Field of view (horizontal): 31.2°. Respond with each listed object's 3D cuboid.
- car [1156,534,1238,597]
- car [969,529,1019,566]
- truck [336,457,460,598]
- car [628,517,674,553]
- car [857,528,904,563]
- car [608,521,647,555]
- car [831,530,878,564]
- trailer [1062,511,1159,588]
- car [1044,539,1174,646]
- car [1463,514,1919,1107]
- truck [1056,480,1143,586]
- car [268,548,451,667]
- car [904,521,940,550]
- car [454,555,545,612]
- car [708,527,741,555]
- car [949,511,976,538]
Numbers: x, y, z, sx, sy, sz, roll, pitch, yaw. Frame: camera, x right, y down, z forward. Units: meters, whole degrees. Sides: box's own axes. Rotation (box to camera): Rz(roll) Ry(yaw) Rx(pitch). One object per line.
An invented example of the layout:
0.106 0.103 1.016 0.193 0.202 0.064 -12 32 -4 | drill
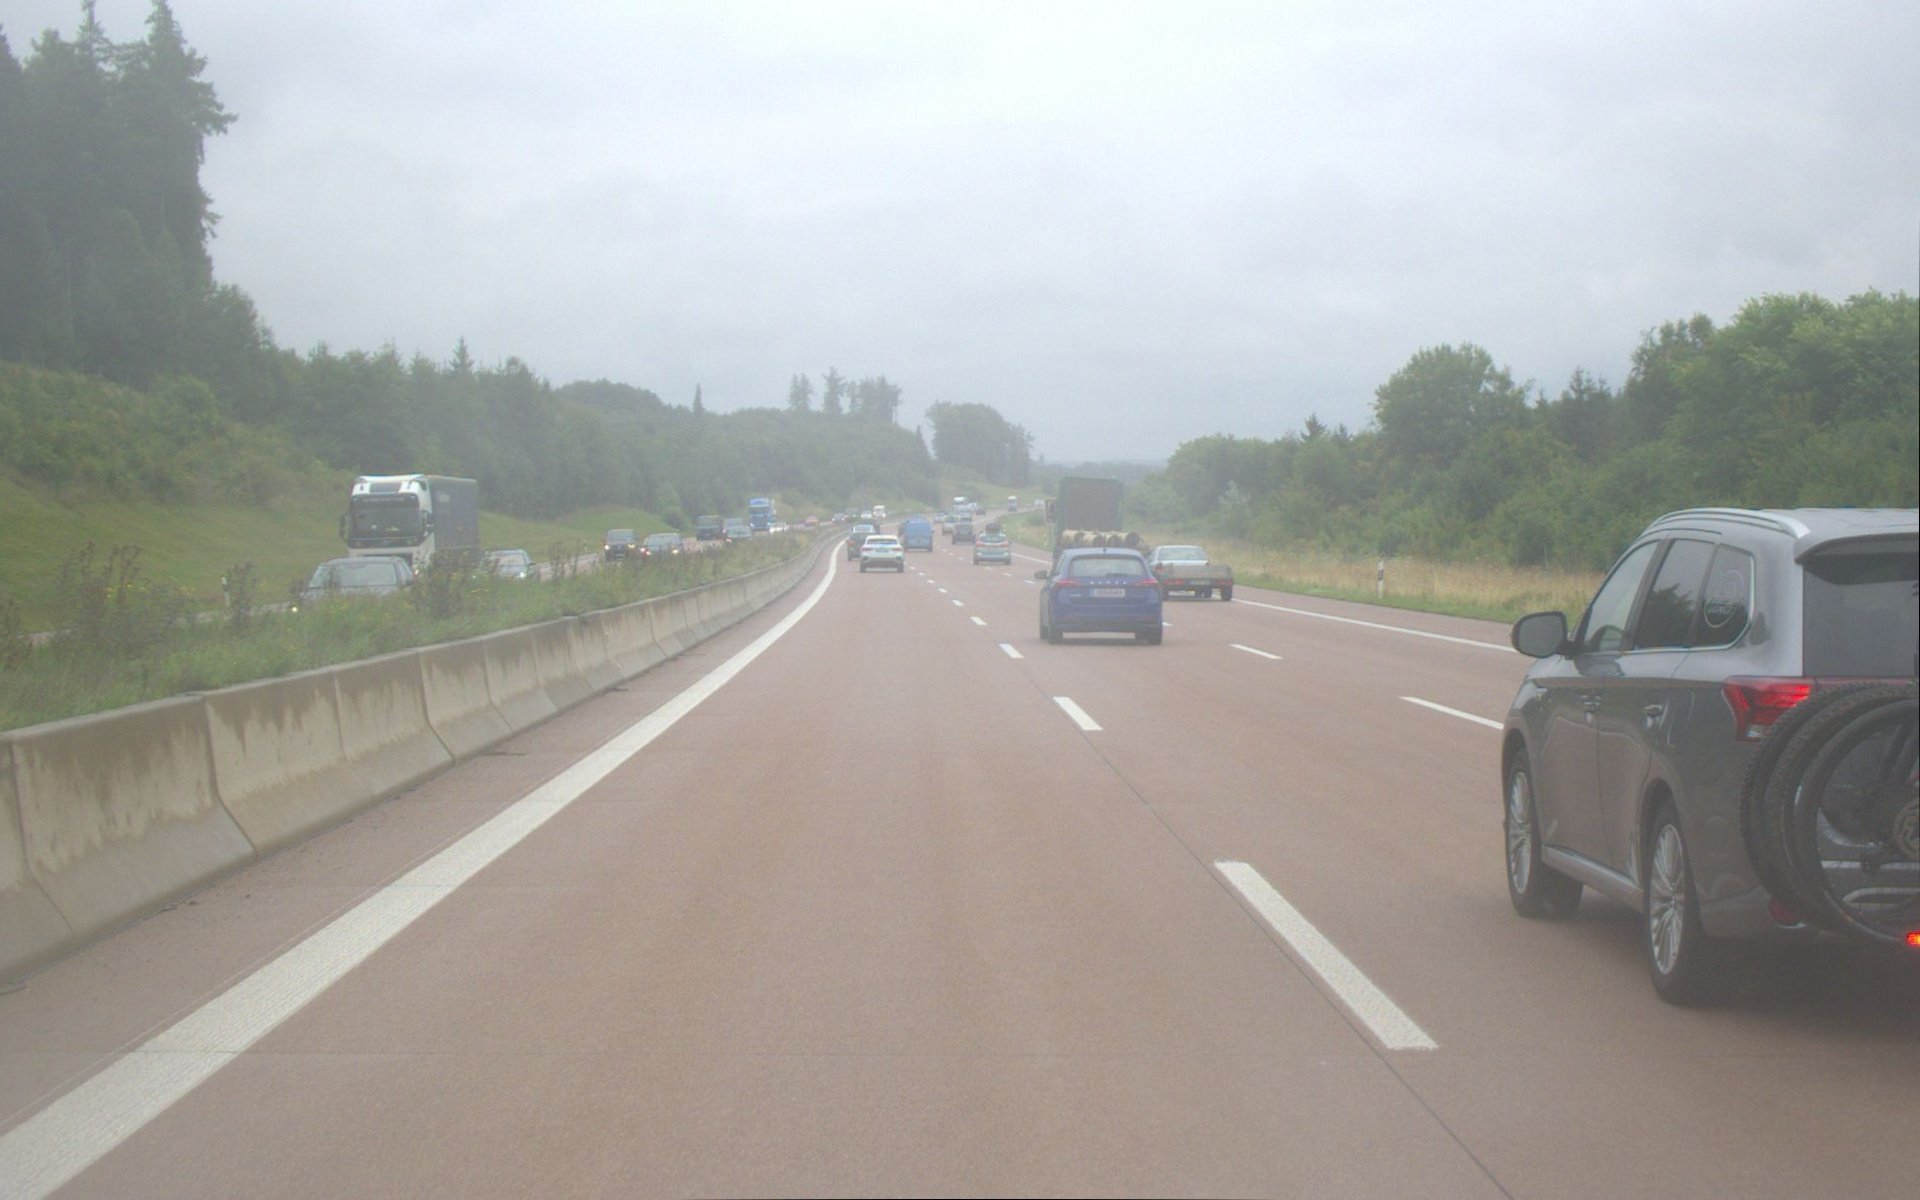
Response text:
6.207 -0.917 90.447 1.698 1.606 4.977 0 1 -1 | car
1.664 -2.585 169.961 2.322 1.744 4.877 1 1 -1 | car
-18.250 -2.322 112.047 2.924 4.375 7.404 1 1 -1 | truck
-15.758 -3.319 175.558 1.993 1.761 5.095 0 2 -1 | car
-3.312 -2.266 143.928 1.874 1.439 4.877 1 1 -1 | car
-20.293 -3.756 210.083 1.993 2.007 5.675 1 1 -2 | car
-5.562 -2.788 181.850 2.322 1.744 4.877 1 1 -1 | car
5.449 -1.833 126.119 2.881 2.666 11.399 1 1 -1 | trailer
2.269 -0.133 53.316 1.771 1.558 4.147 1 1 -1 | car
3.241 0.547 12.143 1.993 1.587 5.820 1 1 -1 | car
5.366 -2.576 133.352 2.897 3.951 6.989 1 1 -1 | truck
-9.460 0.080 54.582 2.048 1.770 5.325 1 1 -1 | car
-2.447 -4.154 222.027 2.322 1.744 4.877 1 1 -1 | car
-14.239 -0.527 106.647 2.048 1.687 6.384 1 1 -1 | car
-15.933 -3.981 232.695 1.890 1.773 4.939 1 1 0 | car
0.163 -5.751 262.008 1.993 2.007 4.000 1 1 -1 | car
